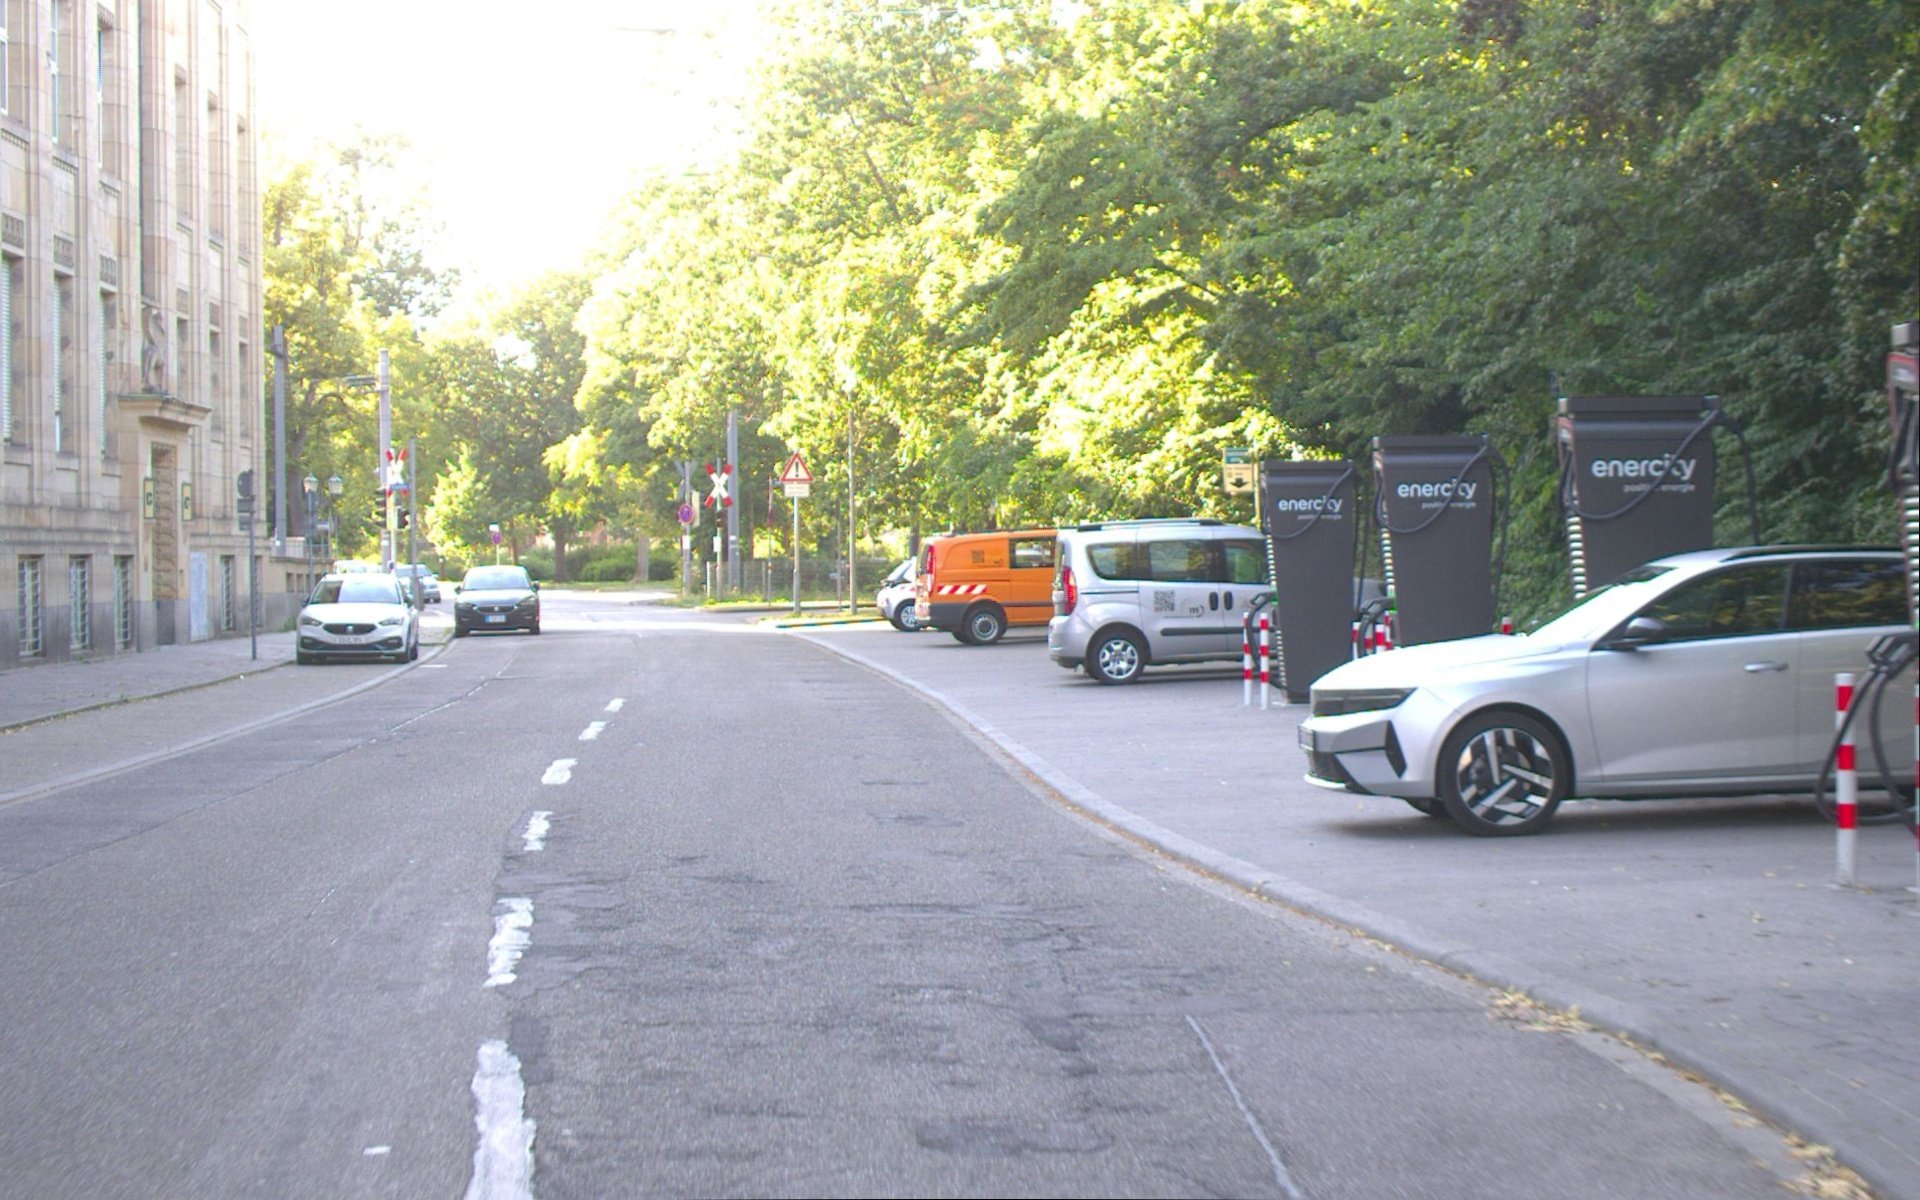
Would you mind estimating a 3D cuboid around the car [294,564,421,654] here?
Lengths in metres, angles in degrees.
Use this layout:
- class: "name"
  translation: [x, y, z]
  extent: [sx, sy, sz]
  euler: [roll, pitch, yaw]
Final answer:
- class: "car"
  translation: [-9.786, 0.116, 56.085]
  extent: [1.727, 1.392, 4.374]
  euler: [0, 1, -6]

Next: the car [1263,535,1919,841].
- class: "car"
  translation: [3.995, 0.419, 18.592]
  extent: [4.440, 1.464, 1.783]
  euler: [-2, 1, -4]

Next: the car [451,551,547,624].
- class: "car"
  translation: [-9.801, -0.293, 73.333]
  extent: [1.878, 1.461, 4.374]
  euler: [-1, 1, -6]

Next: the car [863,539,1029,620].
- class: "car"
  translation: [-0.298, -0.433, 70.436]
  extent: [3.143, 1.498, 1.541]
  euler: [-3, 1, -9]

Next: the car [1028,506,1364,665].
- class: "car"
  translation: [2.943, -0.197, 43.333]
  extent: [4.023, 1.829, 1.614]
  euler: [-2, 1, -2]

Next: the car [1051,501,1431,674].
- class: "car"
  translation: [3.277, -0.156, 40.765]
  extent: [4.228, 1.853, 2.000]
  euler: [-2, 0, -2]

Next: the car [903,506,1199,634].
- class: "car"
  translation: [1.568, -0.532, 59.928]
  extent: [4.817, 2.007, 1.802]
  euler: [-3, 1, -9]
